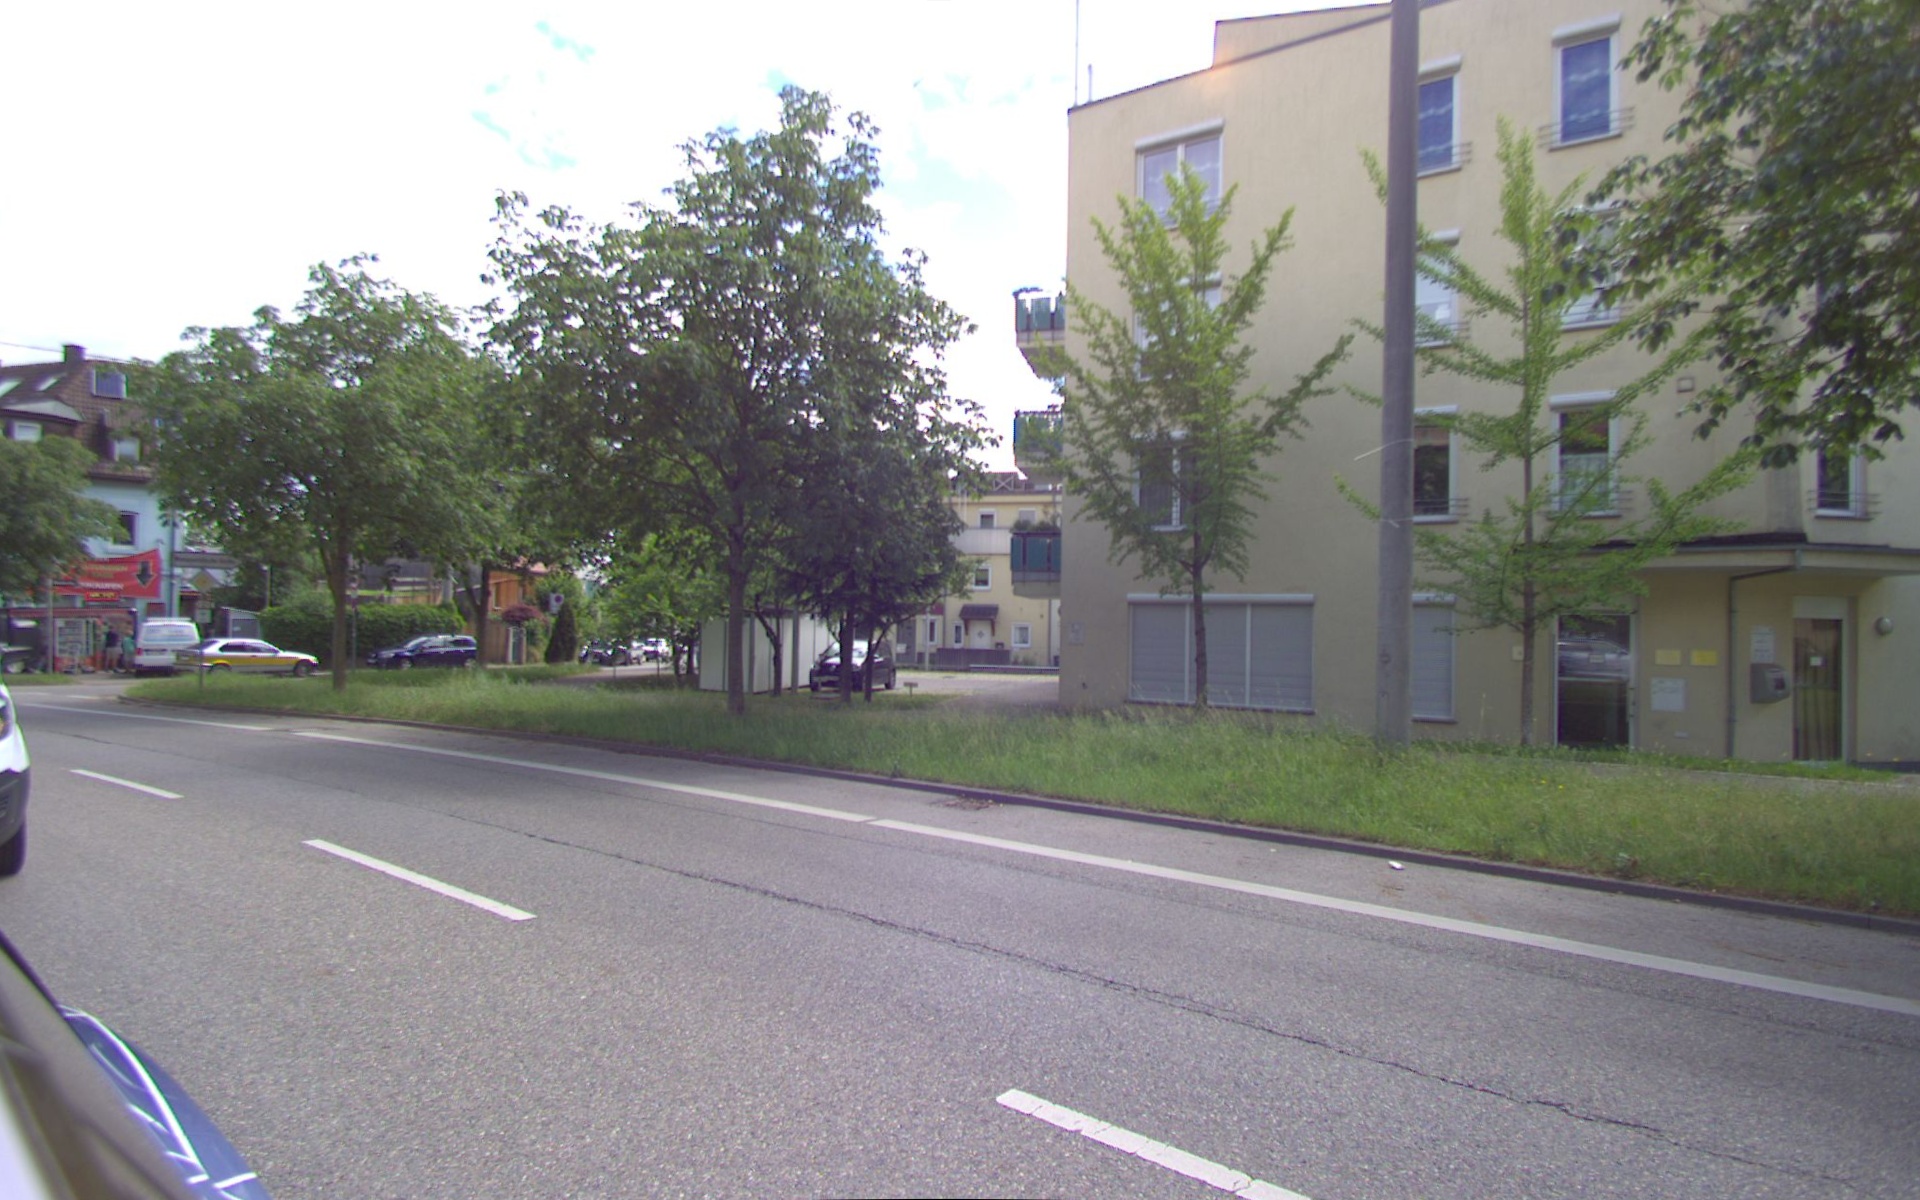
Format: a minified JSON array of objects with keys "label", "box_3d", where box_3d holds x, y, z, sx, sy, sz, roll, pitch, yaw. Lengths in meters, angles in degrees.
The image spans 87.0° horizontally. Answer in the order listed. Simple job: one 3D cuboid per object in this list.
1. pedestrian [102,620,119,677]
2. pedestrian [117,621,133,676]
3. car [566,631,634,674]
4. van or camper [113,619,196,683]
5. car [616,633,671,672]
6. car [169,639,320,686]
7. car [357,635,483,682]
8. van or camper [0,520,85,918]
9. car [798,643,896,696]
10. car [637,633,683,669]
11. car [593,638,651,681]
[{"label":"pedestrian","box_3d":[-30.957,1.757,36.870,0.363,2.029,0.419,-1,0,41]},{"label":"pedestrian","box_3d":[-30.685,1.764,37.189,0.443,2.005,0.378,-1,0,41]},{"label":"car","box_3d":[-17.819,2.587,50.299,1.954,2.029,3.999,0,-2,0]},{"label":"van or camper","box_3d":[-28.722,1.766,36.048,3.811,2.105,1.770,-1,0,43]},{"label":"car","box_3d":[-18.314,2.998,58.747,1.972,2.029,4.001,-1,0,-1]},{"label":"car","box_3d":[-24.414,2.094,34.683,1.529,1.332,4.007,-1,0,28]},{"label":"car","box_3d":[-20.795,2.206,39.069,1.715,1.695,3.928,-1,-2,37]},{"label":"van or camper","box_3d":[-7.348,0.633,6.116,5.093,2.029,2.003,-1,-3,36]},{"label":"car","box_3d":[-3.179,1.955,29.282,1.774,1.431,3.987,-1,-2,10]},{"label":"car","box_3d":[-18.719,3.174,63.289,1.870,2.029,4.002,-1,0,-2]},{"label":"car","box_3d":[-18.135,3.151,54.472,1.971,2.029,4.002,-1,0,-3]}]
